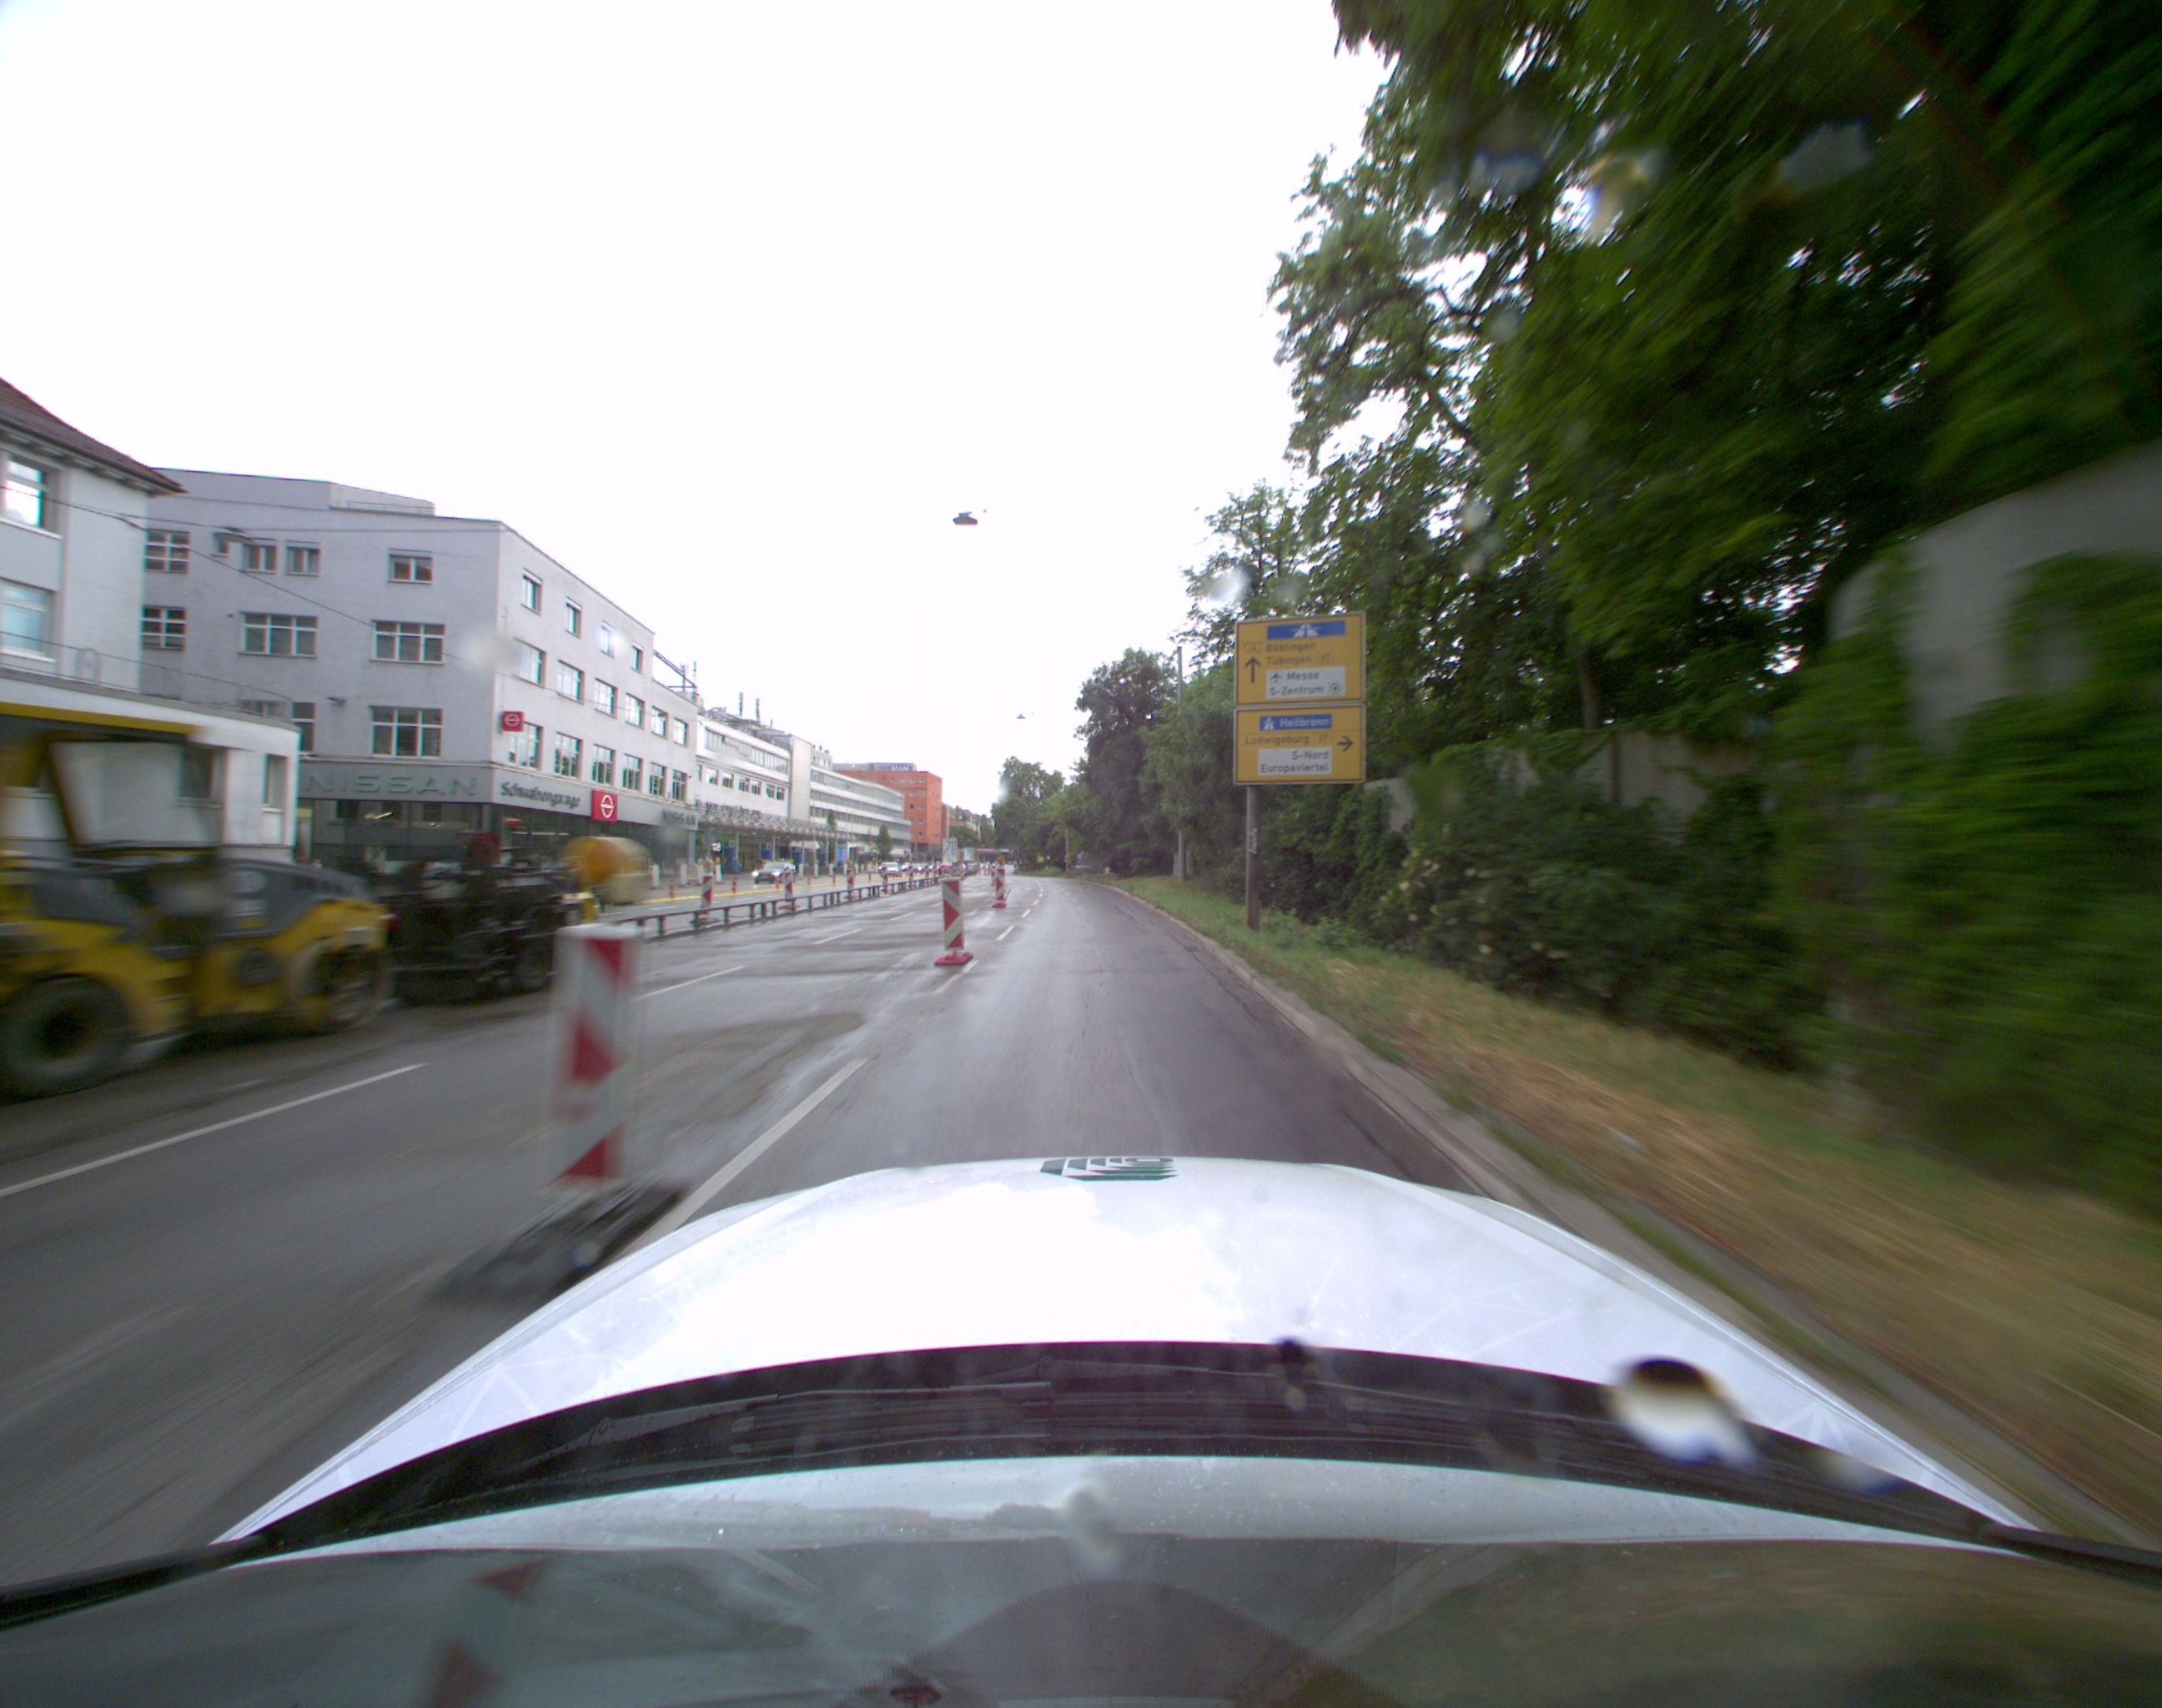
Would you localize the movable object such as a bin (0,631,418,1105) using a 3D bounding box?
[{"bbox_3d":[-7.552,0.098,6.418,1.460,3.008,3.726,-1,0,2],"label":"movable object such as a bin"}]

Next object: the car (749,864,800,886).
[{"bbox_3d":[-20.175,1.347,53.797,1.756,1.406,4.251,0,-1,1],"label":"car"}]

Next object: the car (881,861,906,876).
[{"bbox_3d":[-19.045,1.467,82.795,1.776,1.381,4.450,-1,0,-4],"label":"car"}]

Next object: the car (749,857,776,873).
[{"bbox_3d":[-34.607,1.189,88.435,1.813,1.655,3.957,3,-1,-35],"label":"car"}]

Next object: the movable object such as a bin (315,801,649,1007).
[{"bbox_3d":[-7.289,0.531,10.377,1.710,2.150,3.349,-1,0,0],"label":"movable object such as a bin"}]

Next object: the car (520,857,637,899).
[{"bbox_3d":[-20.043,0.892,32.761,1.828,1.543,4.557,0,0,1],"label":"car"}]
